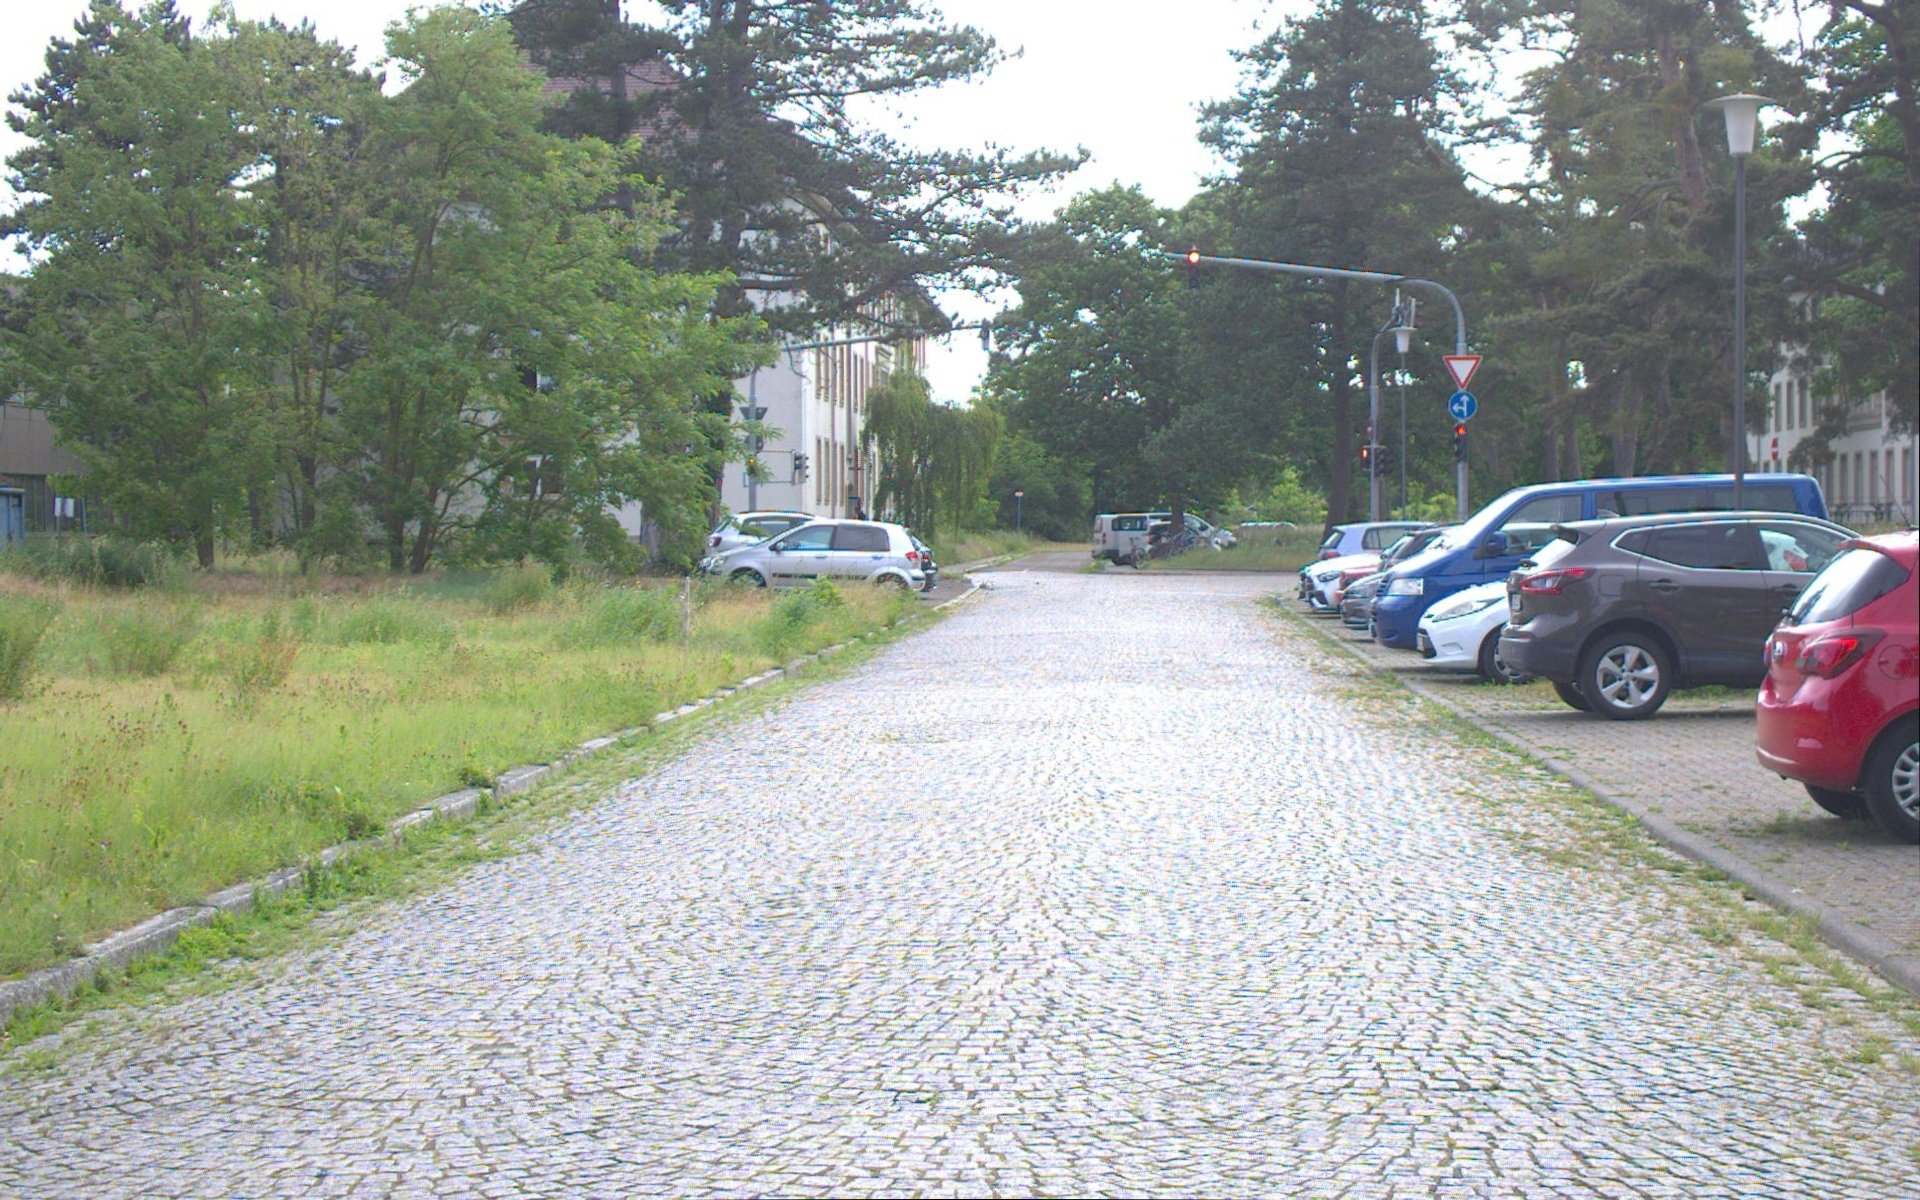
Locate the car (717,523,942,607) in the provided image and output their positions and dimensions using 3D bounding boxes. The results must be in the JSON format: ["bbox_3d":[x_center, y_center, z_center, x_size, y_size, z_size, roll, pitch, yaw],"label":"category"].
[{"bbox_3d":[-2.548,-0.699,67.131,4.297,1.548,1.812,-1,1,-3],"label":"car"}]

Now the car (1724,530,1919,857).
[{"bbox_3d":[5.872,0.395,16.717,3.923,1.491,1.785,-1,1,2],"label":"car"}]

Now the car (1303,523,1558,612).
[{"bbox_3d":[8.133,-0.573,59.584,4.135,1.458,1.634,-1,1,-2],"label":"car"}]

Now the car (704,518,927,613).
[{"bbox_3d":[-2.458,-0.607,59.258,3.720,1.475,1.673,2,1,0],"label":"car"}]

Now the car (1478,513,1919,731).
[{"bbox_3d":[6.322,0.138,27.010,4.203,1.589,1.953,-1,1,1],"label":"car"}]

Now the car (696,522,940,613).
[{"bbox_3d":[-2.563,-0.596,61.865,4.297,1.548,1.812,-1,1,-3],"label":"car"}]

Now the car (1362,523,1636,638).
[{"bbox_3d":[7.320,-0.282,46.963,3.505,1.482,1.743,-1,1,3],"label":"car"}]

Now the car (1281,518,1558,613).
[{"bbox_3d":[7.602,-0.580,57.056,4.228,1.474,1.710,-1,1,-7],"label":"car"}]

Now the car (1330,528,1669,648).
[{"bbox_3d":[6.878,-0.169,44.118,4.131,1.442,1.765,-1,1,4],"label":"car"}]

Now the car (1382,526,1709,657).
[{"bbox_3d":[6.972,-0.117,41.204,3.653,1.473,1.765,-1,1,3],"label":"car"}]

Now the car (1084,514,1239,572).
[{"bbox_3d":[7.407,-2.096,126.637,5.375,2.094,2.179,0,1,-9],"label":"car"}]

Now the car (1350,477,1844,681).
[{"bbox_3d":[6.578,-0.234,35.906,4.795,1.997,1.966,-1,1,1],"label":"car"}]

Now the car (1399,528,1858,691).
[{"bbox_3d":[6.431,0.071,33.371,4.097,1.473,1.722,-1,1,0],"label":"car"}]

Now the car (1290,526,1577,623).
[{"bbox_3d":[7.448,-0.418,54.296,4.184,1.432,1.755,-1,1,-4],"label":"car"}]

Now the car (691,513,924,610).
[{"bbox_3d":[-2.858,-0.731,64.690,4.297,1.726,1.653,-1,1,-2],"label":"car"}]

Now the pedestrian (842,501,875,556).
[{"bbox_3d":[-3.677,-2.608,124.961,1.074,1.952,1.121,1,1,3],"label":"pedestrian"}]

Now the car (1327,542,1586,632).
[{"bbox_3d":[7.127,-0.198,49.606,3.587,1.218,1.628,-1,1,4],"label":"car"}]
